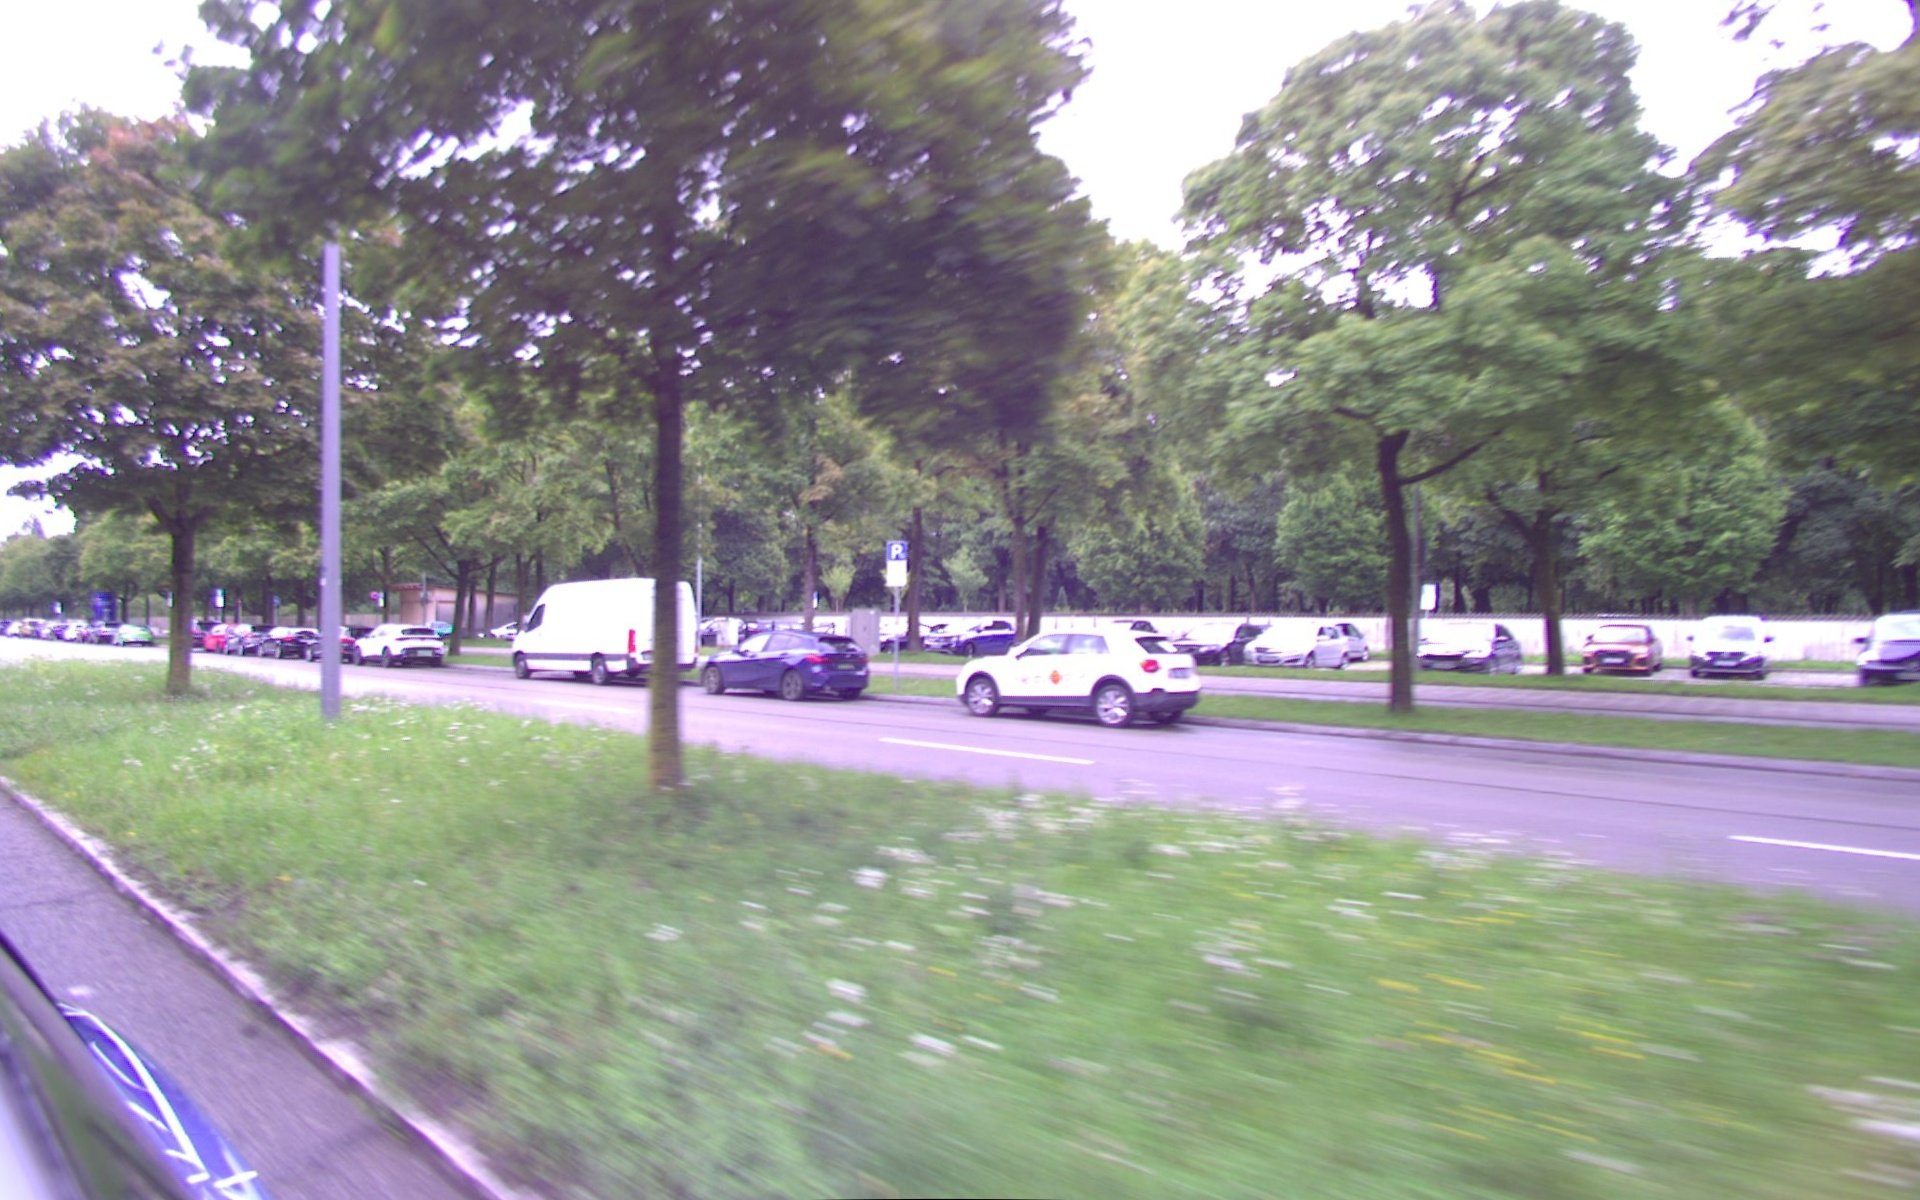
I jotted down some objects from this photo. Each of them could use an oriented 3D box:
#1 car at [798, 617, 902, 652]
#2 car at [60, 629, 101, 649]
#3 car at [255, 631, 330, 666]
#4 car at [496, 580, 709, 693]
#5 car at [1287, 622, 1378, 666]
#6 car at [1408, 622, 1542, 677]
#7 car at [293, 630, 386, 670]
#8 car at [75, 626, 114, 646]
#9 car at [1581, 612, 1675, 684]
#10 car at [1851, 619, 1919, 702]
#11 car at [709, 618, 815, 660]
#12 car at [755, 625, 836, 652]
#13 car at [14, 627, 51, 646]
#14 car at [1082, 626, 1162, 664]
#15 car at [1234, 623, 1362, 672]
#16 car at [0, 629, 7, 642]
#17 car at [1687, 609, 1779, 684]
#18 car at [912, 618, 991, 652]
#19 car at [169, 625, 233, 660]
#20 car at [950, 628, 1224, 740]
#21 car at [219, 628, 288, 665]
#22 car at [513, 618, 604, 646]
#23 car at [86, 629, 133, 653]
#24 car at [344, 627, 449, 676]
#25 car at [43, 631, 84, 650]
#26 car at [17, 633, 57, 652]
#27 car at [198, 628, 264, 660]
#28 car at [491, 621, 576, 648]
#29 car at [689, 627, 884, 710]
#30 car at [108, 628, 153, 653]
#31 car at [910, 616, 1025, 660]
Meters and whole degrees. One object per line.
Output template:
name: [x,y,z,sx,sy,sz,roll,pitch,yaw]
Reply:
car: [-4.356,1.365,40.517,1.815,1.349,3.943,-1,-2,43]
car: [-68.236,3.017,78.484,4.258,1.488,1.802,-1,-4,42]
car: [-28.932,2.080,43.801,4.000,1.420,1.801,-1,-3,43]
car: [-9.689,0.988,26.987,7.101,2.664,2.117,-2,-3,41]
car: [14.369,1.645,38.933,3.941,1.608,1.771,1,-2,-45]
car: [12.645,1.162,24.741,1.784,1.219,4.127,-2,-2,44]
car: [-24.273,1.930,39.562,3.994,1.459,1.804,-1,-3,38]
car: [-64.353,2.670,75.232,3.686,1.433,1.632,-1,-4,42]
car: [21.415,1.452,32.375,1.999,2.050,4.460,-1,0,40]
car: [18.978,1.122,19.412,3.934,1.516,2.005,1,-2,-36]
car: [-7.939,1.544,40.825,1.814,1.582,3.944,-1,-2,42]
car: [-9.556,2.222,58.904,1.999,1.453,4.459,-1,-2,40]
car: [-85.969,3.378,93.810,4.529,1.784,1.839,-1,-3,39]
car: [7.200,1.940,44.803,1.768,1.608,3.947,-1,-2,39]
car: [9.203,1.238,27.432,1.784,1.219,3.942,-2,-2,44]
car: [-109.781,4.038,114.909,4.037,1.420,1.695,-1,-3,39]
car: [23.597,1.342,30.824,1.999,2.050,4.460,-1,0,40]
car: [-0.426,1.779,51.767,3.941,1.666,1.771,1,-2,-45]
car: [-40.369,2.234,53.806,4.236,1.712,1.803,0,-1,40]
car: [1.999,1.262,16.573,4.139,1.502,1.838,0,-1,40]
car: [-33.033,2.128,47.296,4.112,1.611,1.802,-1,-2,42]
car: [-21.411,1.695,54.055,1.998,1.453,4.095,-1,-1,38]
car: [-59.749,2.873,71.101,4.454,1.643,1.802,-1,-3,41]
car: [-20.083,1.803,36.005,4.295,1.539,1.803,0,-2,40]
car: [-72.661,3.262,81.993,3.784,1.457,1.803,-1,-4,39]
car: [-81.586,3.773,89.476,4.037,1.628,1.982,-1,-3,39]
car: [-36.799,2.198,51.057,3.807,1.490,1.803,0,-1,40]
car: [-23.803,1.887,56.611,1.998,1.453,3.947,-1,-2,39]
car: [-3.784,1.382,21.720,4.248,1.502,1.838,0,-1,40]
car: [-53.772,2.618,65.588,3.999,1.511,1.623,-2,-4,42]
car: [0.308,1.314,35.666,3.941,1.449,1.816,1,-2,-44]
